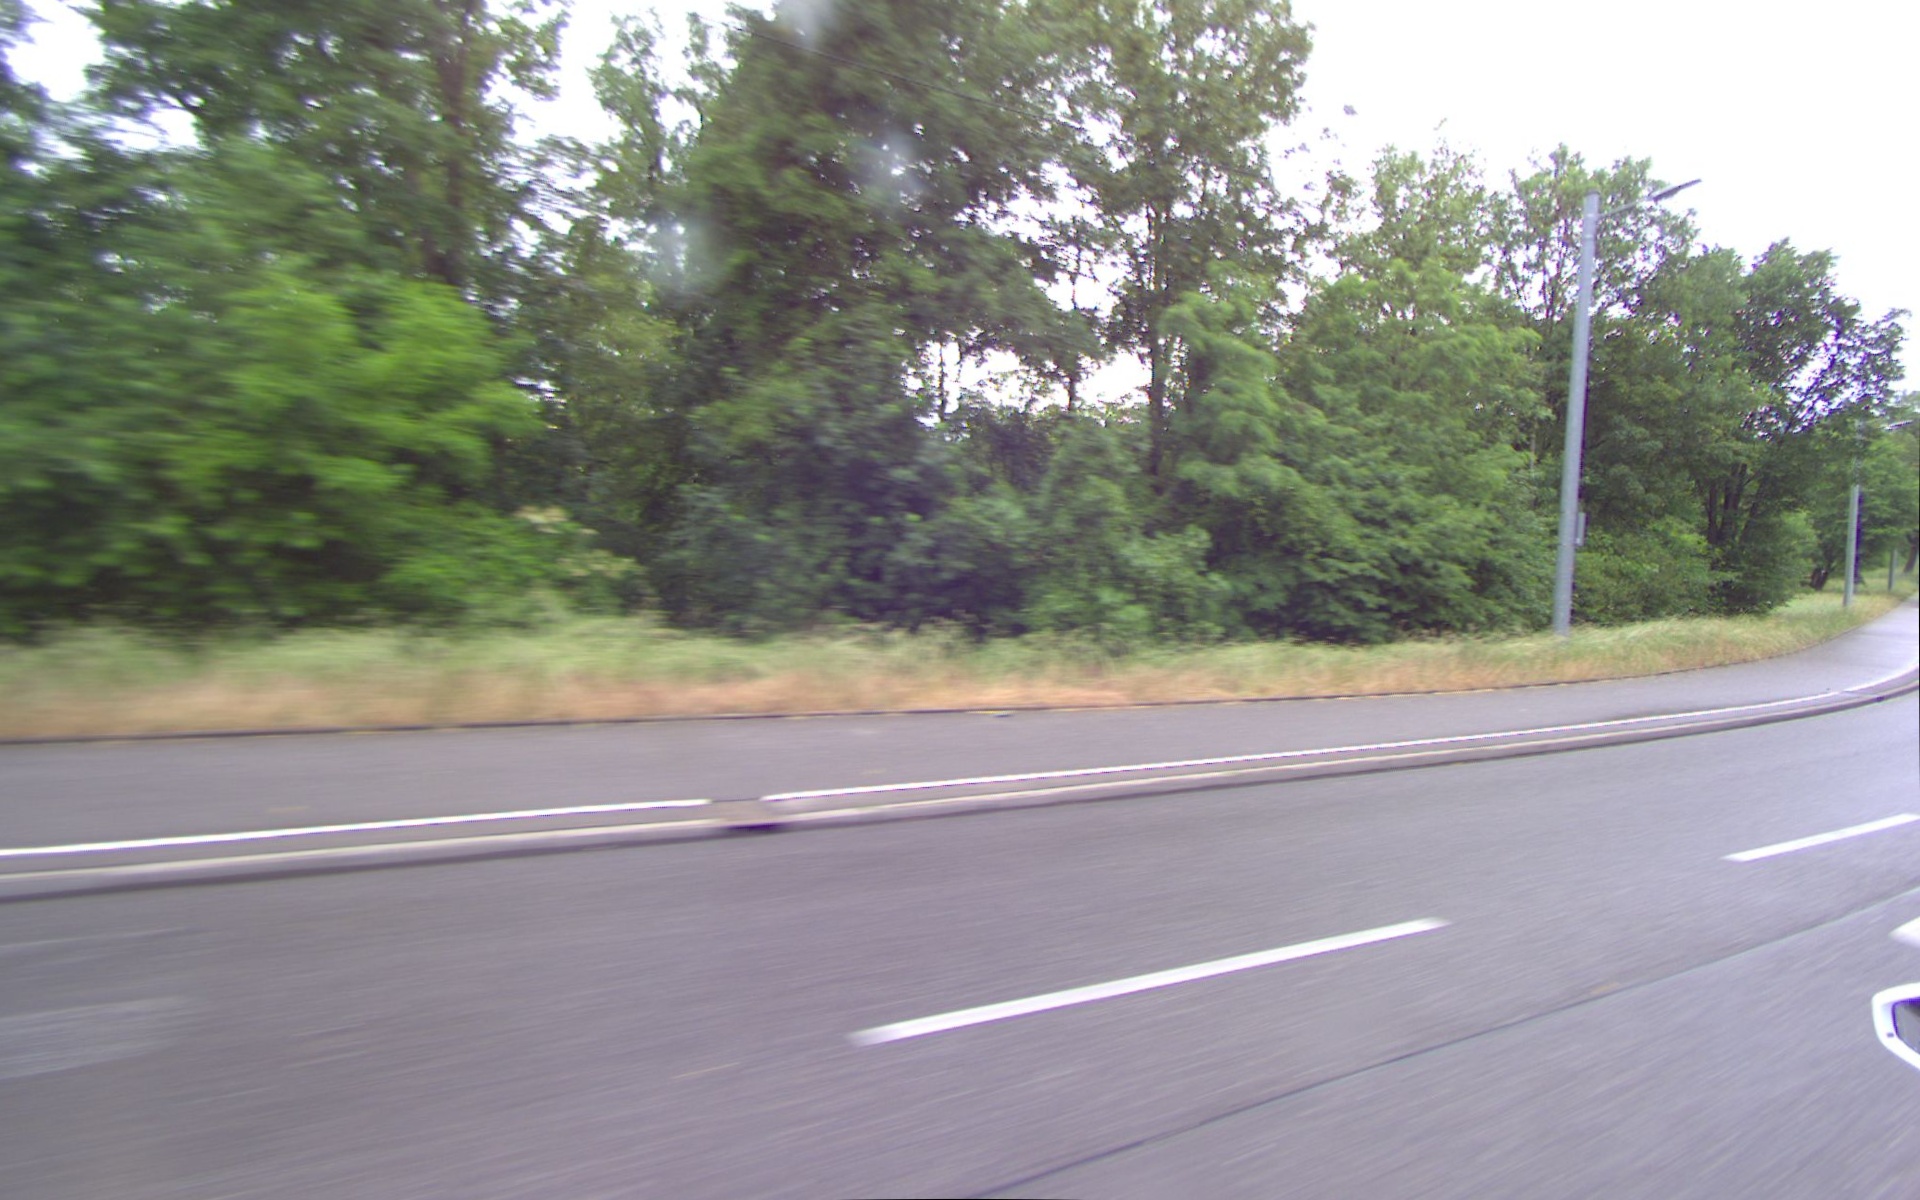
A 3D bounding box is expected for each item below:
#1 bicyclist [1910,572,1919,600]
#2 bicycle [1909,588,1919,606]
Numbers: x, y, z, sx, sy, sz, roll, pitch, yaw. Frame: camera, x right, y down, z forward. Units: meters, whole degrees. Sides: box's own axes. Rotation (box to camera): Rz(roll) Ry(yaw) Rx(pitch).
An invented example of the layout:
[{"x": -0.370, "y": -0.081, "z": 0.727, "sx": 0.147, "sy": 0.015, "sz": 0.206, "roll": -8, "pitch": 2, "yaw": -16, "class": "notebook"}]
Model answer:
[{"x": 56.089, "y": -0.803, "z": 58.677, "sx": 0.701, "sy": 1.577, "sz": 1.163, "roll": 7, "pitch": 6, "yaw": 45, "class": "bicyclist"}, {"x": 55.963, "y": -0.189, "z": 58.631, "sx": 0.716, "sy": 0.955, "sz": 2.534, "roll": 7, "pitch": 6, "yaw": 44, "class": "bicycle"}]
